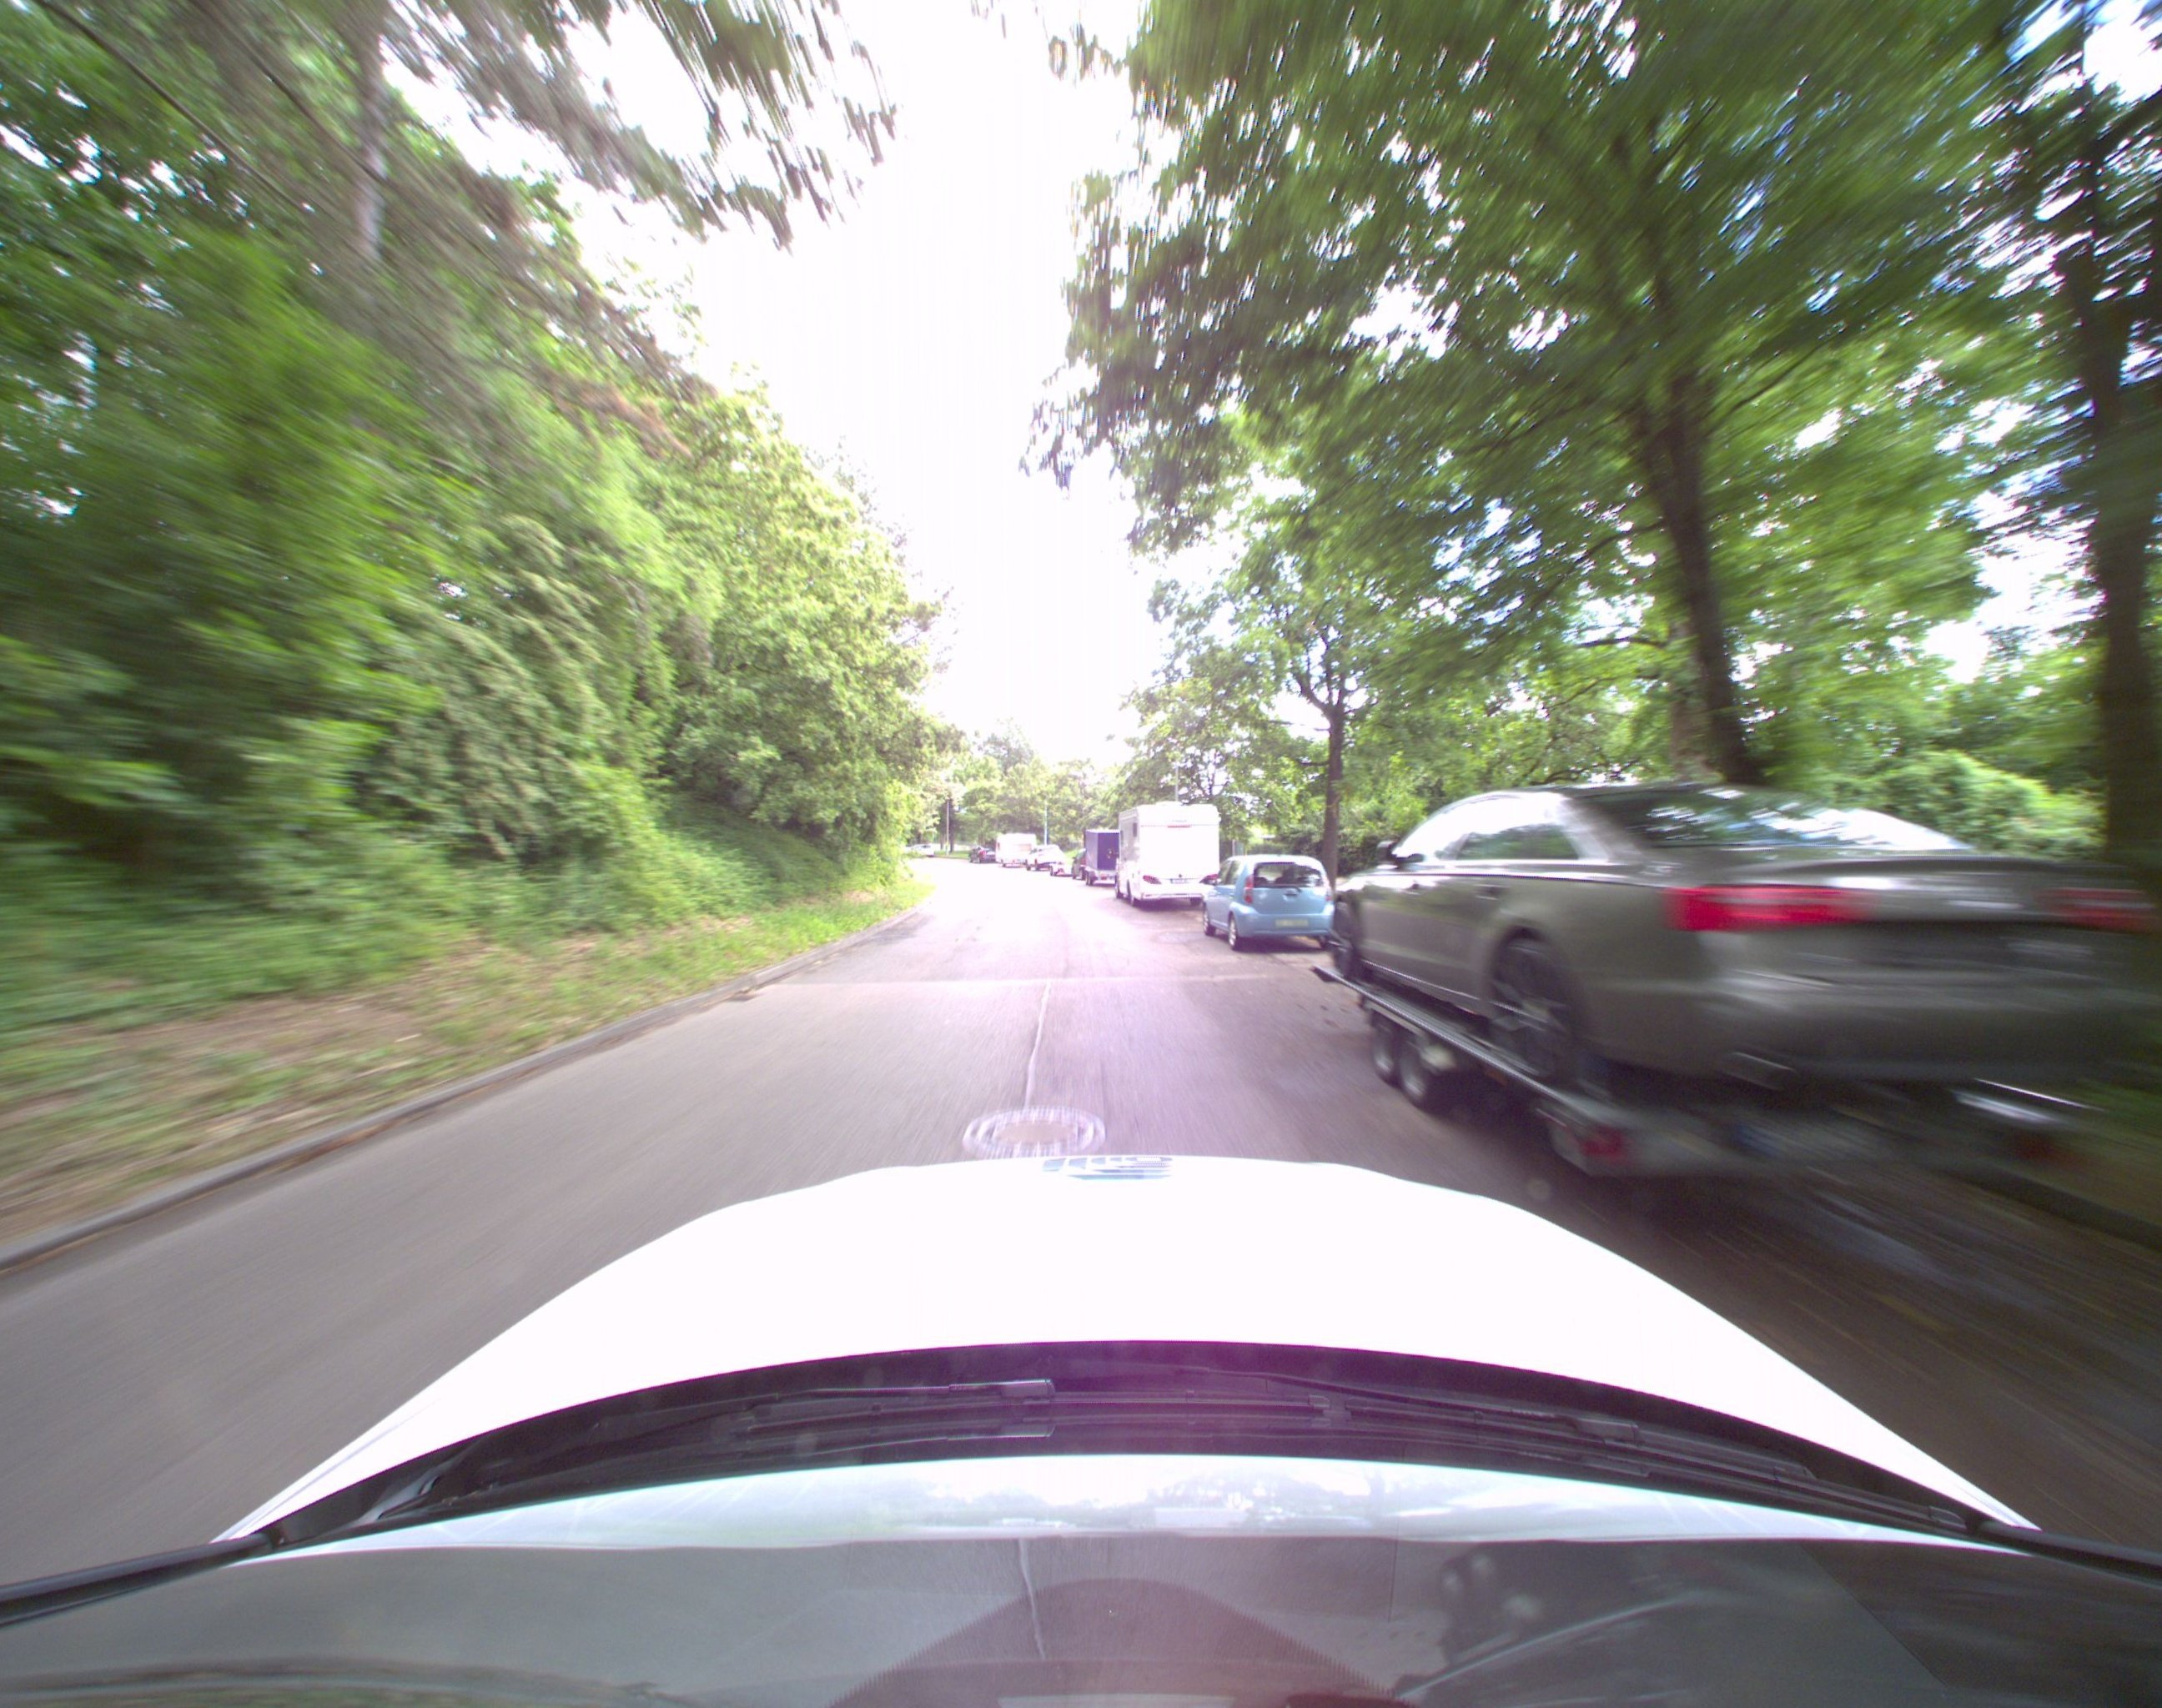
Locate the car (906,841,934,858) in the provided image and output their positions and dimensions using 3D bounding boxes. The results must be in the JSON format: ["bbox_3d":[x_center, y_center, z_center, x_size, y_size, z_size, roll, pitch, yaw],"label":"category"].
[{"bbox_3d":[-18.002,-0.485,91.010,2.005,1.754,3.963,0,0,-29],"label":"car"}]

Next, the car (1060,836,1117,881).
[{"bbox_3d":[0.337,0.179,41.063,1.995,2.025,3.984,-3,2,-12],"label":"car"}]

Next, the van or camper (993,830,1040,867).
[{"bbox_3d":[-5.014,-0.400,62.454,2.534,2.697,4.546,-1,1,-19],"label":"van or camper"}]

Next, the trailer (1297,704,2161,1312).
[{"bbox_3d":[2.942,0.440,5.013,1.972,1.811,5.150,-1,0,1],"label":"trailer"}]

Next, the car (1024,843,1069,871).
[{"bbox_3d":[-2.352,0.167,54.174,2.039,1.803,4.060,-1,0,-17],"label":"car"}]

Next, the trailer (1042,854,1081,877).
[{"bbox_3d":[-1.132,0.608,44.948,1.651,1.086,3.988,-2,1,-9],"label":"trailer"}]

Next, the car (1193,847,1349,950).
[{"bbox_3d":[3.173,0.669,14.390,1.795,1.562,3.833,-1,0,-1],"label":"car"}]

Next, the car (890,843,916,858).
[{"bbox_3d":[-21.062,-0.410,96.454,2.005,1.754,3.963,0,0,-29],"label":"car"}]

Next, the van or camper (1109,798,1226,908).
[{"bbox_3d":[2.401,-0.007,24.874,2.477,2.876,6.881,0,0,-3],"label":"van or camper"}]

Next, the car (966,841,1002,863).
[{"bbox_3d":[-8.612,-0.204,72.016,2.003,1.869,3.968,-2,2,-24],"label":"car"}]

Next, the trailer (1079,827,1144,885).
[{"bbox_3d":[1.278,0.067,35.894,1.994,2.398,3.985,0,0,-11],"label":"trailer"}]
